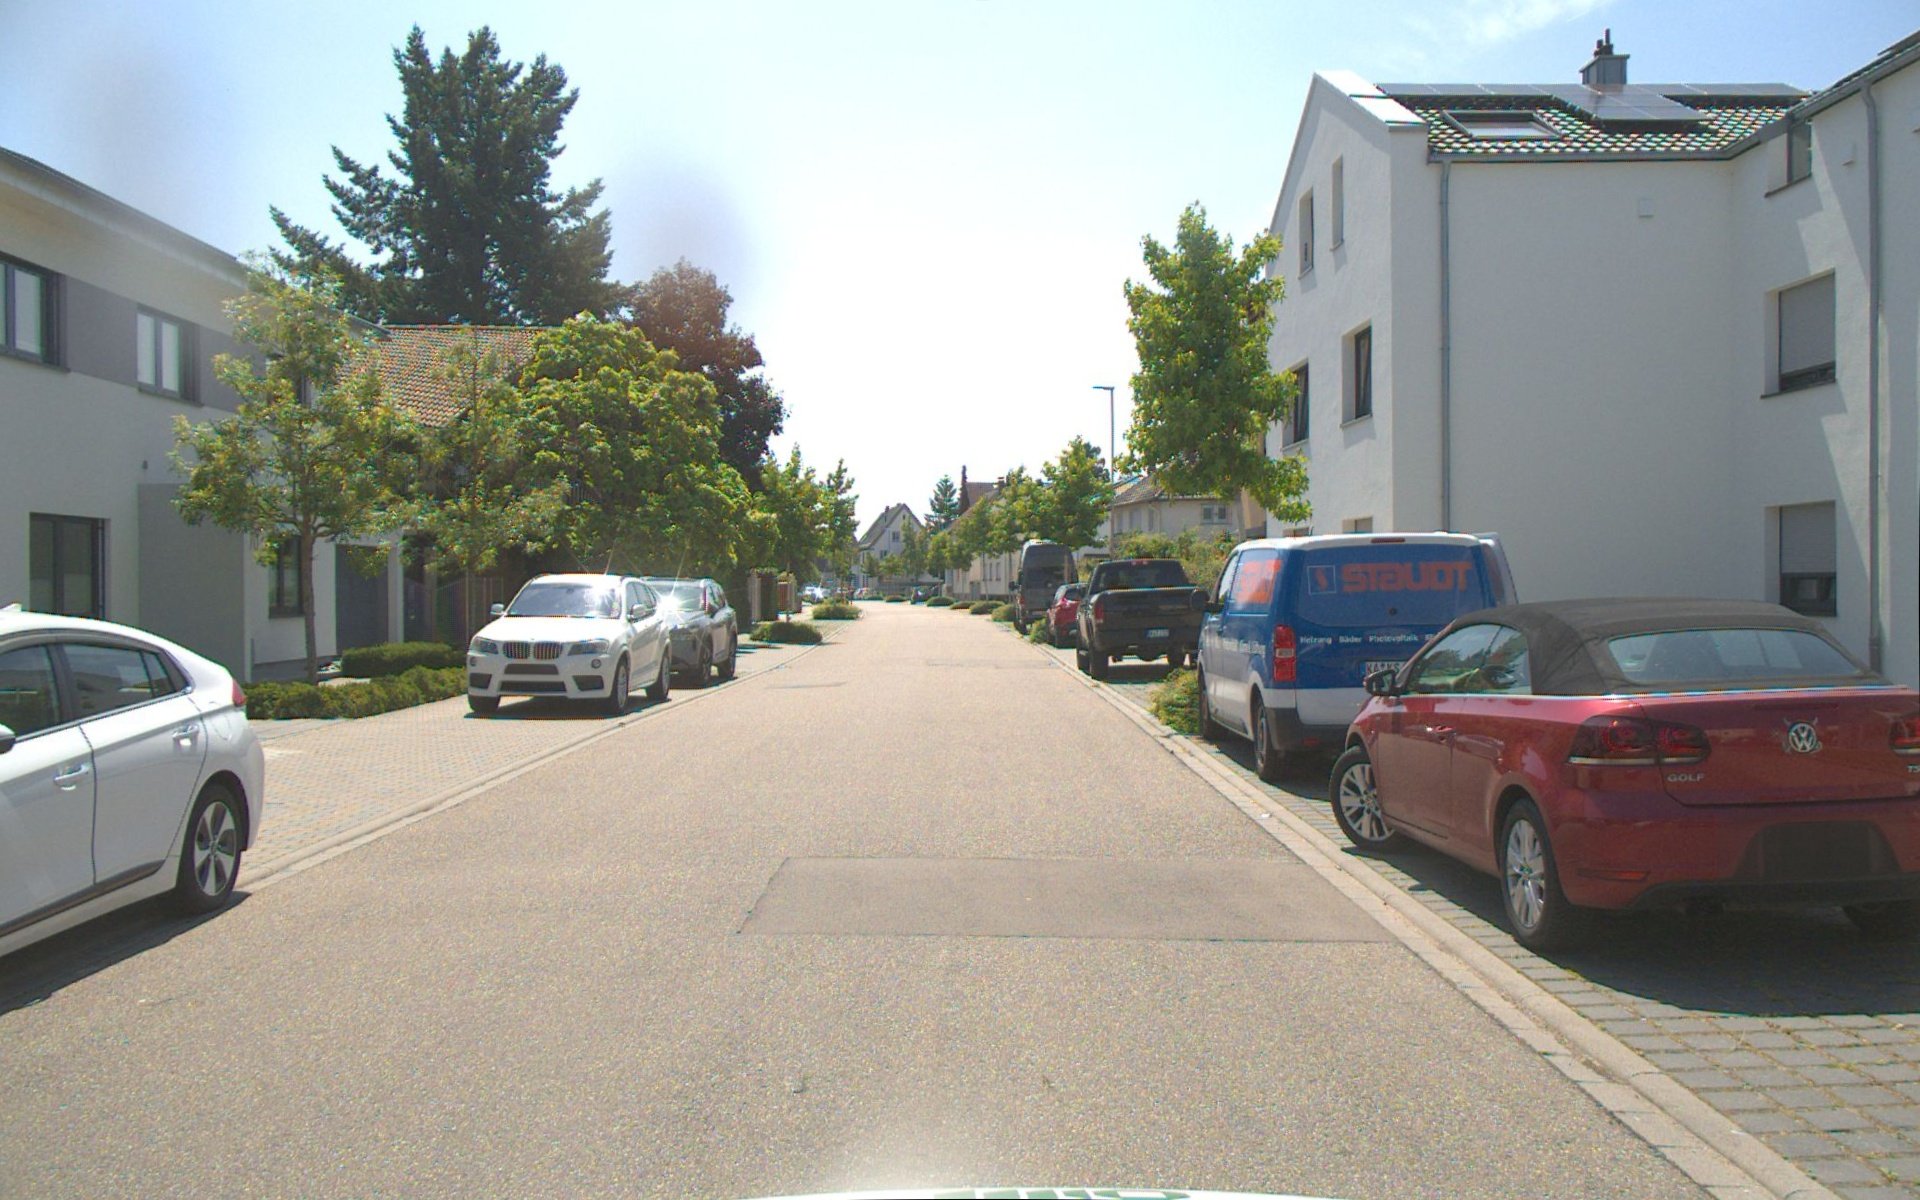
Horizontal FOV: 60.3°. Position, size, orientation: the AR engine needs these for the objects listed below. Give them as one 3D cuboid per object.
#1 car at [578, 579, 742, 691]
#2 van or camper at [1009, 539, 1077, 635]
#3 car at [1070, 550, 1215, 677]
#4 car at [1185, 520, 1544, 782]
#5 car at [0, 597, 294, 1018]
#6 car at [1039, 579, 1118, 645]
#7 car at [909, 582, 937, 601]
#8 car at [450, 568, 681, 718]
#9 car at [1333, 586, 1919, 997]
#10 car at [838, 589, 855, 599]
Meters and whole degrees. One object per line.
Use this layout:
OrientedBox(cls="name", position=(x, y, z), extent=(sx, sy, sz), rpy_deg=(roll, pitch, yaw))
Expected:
OrientedBox(cls="car", position=(-4.924, 0.527, 27.735), extent=(1.952, 1.709, 4.214), rpy_deg=(0, 0, 0))
OrientedBox(cls="van or camper", position=(2.669, -0.428, 53.921), extent=(1.953, 2.993, 4.000), rpy_deg=(-1, 0, 0))
OrientedBox(cls="car", position=(3.096, 0.199, 29.088), extent=(1.953, 1.981, 5.215), rpy_deg=(-2, 0, 0))
OrientedBox(cls="car", position=(3.317, 0.366, 14.635), extent=(2.056, 1.915, 4.843), rpy_deg=(-1, 0, 1))
OrientedBox(cls="car", position=(-4.419, 0.763, 6.471), extent=(1.814, 1.514, 4.385), rpy_deg=(1, 0, 0))
OrientedBox(cls="car", position=(3.046, 0.292, 43.018), extent=(1.636, 1.623, 3.554), rpy_deg=(-1, 0, -2))
OrientedBox(cls="car", position=(-3.332, -0.753, 148.006), extent=(1.957, 1.601, 3.992), rpy_deg=(-1, 1, -9))
OrientedBox(cls="car", position=(-4.944, 0.479, 21.392), extent=(1.887, 1.716, 4.498), rpy_deg=(0, 0, 0))
OrientedBox(cls="car", position=(3.161, 0.675, 8.031), extent=(1.646, 1.467, 4.025), rpy_deg=(-1, 0, -2))
OrientedBox(cls="car", position=(-14.334, -0.784, 208.454), extent=(1.633, 1.272, 3.922), rpy_deg=(-1, 0, -11))
